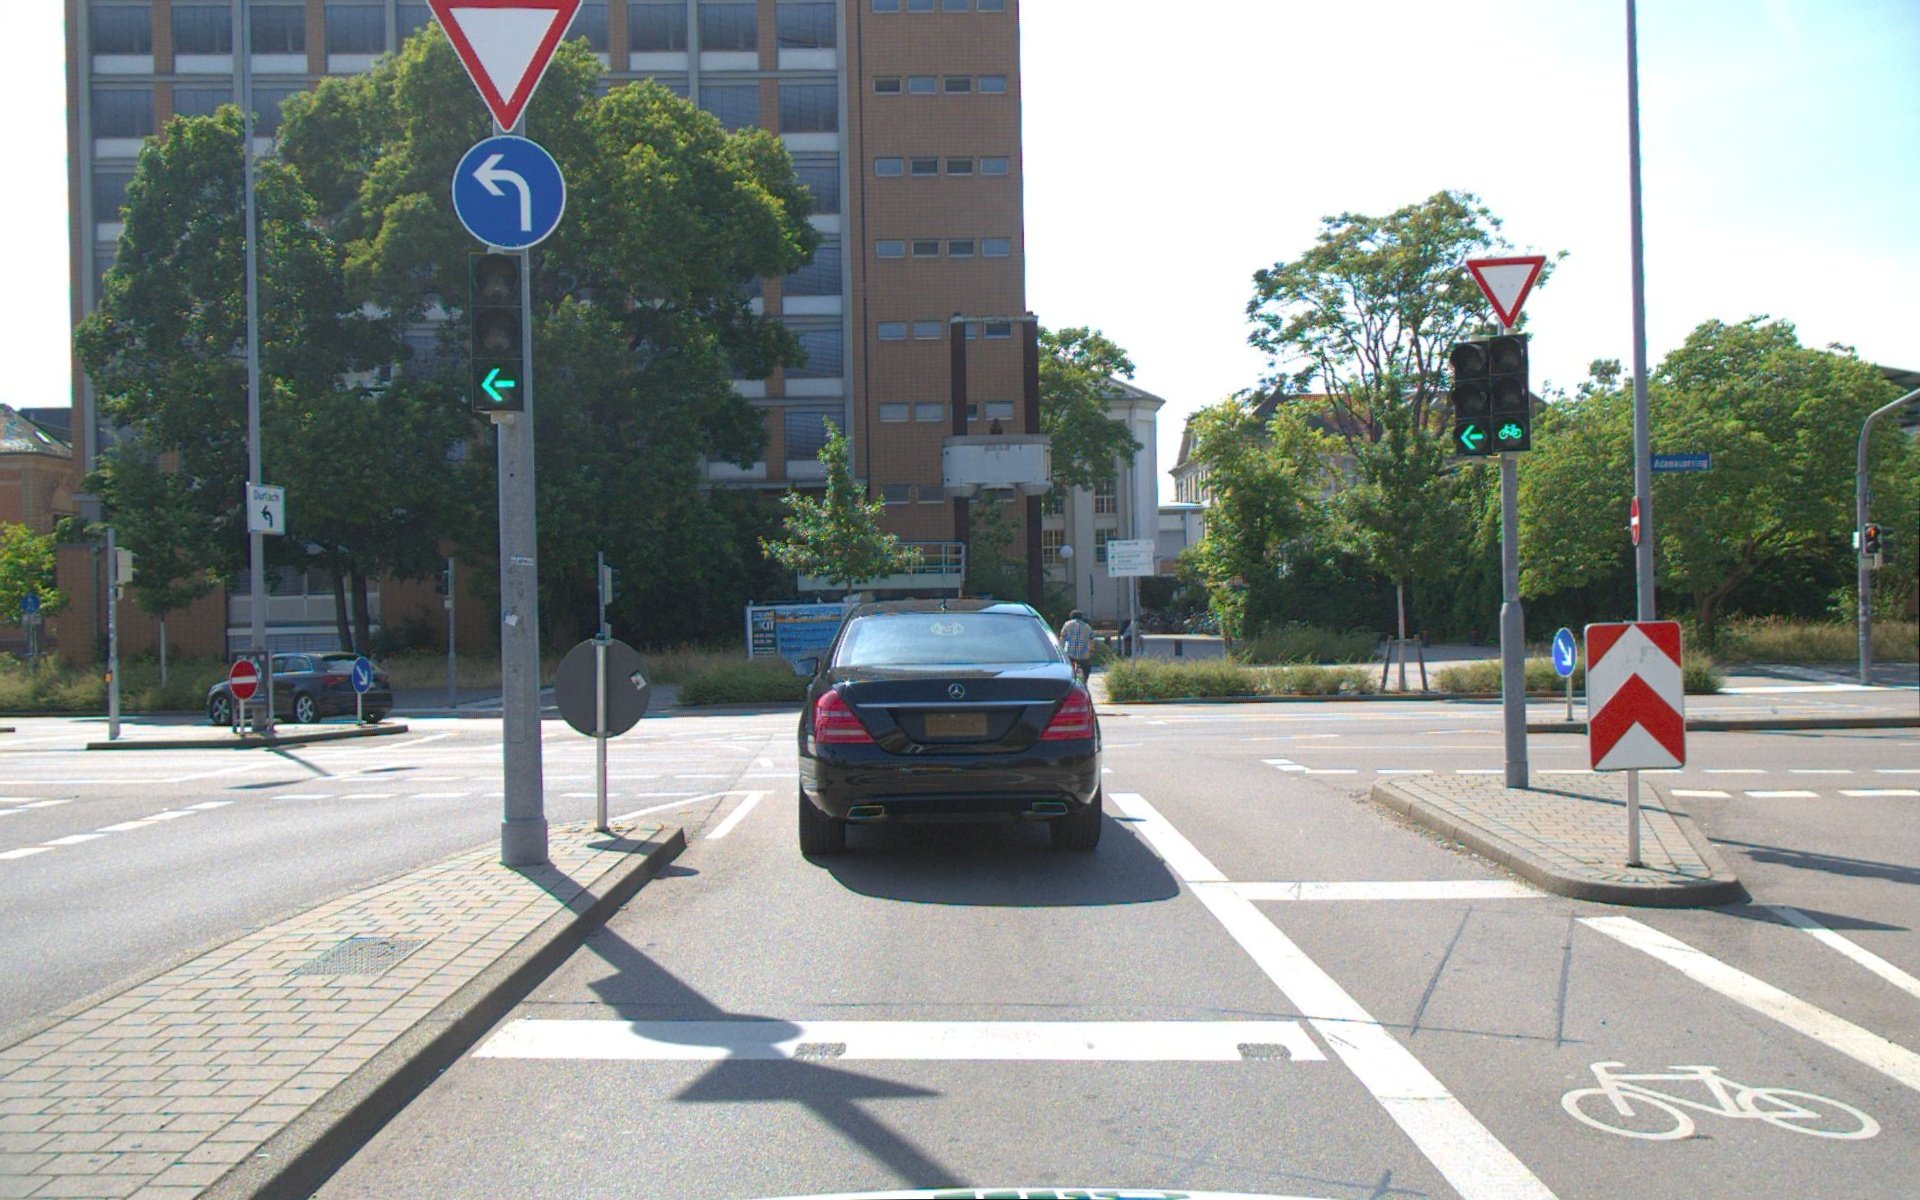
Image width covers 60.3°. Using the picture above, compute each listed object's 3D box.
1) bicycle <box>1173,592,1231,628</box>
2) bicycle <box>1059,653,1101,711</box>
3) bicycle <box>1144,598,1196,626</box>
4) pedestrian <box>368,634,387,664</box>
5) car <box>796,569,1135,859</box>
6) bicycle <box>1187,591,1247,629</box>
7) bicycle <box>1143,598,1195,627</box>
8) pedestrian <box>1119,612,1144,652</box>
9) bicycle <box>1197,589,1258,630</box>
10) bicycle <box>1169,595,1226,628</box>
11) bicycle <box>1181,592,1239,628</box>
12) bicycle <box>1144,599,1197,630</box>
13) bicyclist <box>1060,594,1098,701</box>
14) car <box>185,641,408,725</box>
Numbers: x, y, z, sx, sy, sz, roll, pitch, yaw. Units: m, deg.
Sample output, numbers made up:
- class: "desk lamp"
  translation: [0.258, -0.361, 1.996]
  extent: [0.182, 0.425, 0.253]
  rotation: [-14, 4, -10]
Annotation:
- class: "bicycle"
  translation: [12.339, 0.509, 84.273]
  extent: [2.766, 1.688, 0.841]
  rotation: [-2, 1, -2]
- class: "bicycle"
  translation: [2.147, 1.453, 29.686]
  extent: [0.678, 0.963, 1.959]
  rotation: [1, -1, 2]
- class: "bicycle"
  translation: [11.970, 0.664, 94.280]
  extent: [2.766, 1.506, 0.841]
  rotation: [-2, 0, -2]
- class: "pedestrian"
  translation: [-18.021, 1.503, 51.164]
  extent: [0.419, 0.907, 0.393]
  rotation: [-2, -1, 8]
- class: "car"
  translation: [-0.069, 0.647, 11.287]
  extent: [1.821, 1.557, 4.711]
  rotation: [0, -1, -3]
- class: "bicycle"
  translation: [12.694, 0.508, 81.821]
  extent: [2.766, 1.775, 0.841]
  rotation: [-2, 0, -2]
- class: "bicycle"
  translation: [11.699, 0.691, 92.560]
  extent: [2.766, 1.526, 0.841]
  rotation: [-2, 0, -2]
- class: "pedestrian"
  translation: [5.371, 1.008, 51.761]
  extent: [0.776, 1.235, 0.758]
  rotation: [1, -1, 6]
- class: "bicycle"
  translation: [12.858, 0.473, 79.564]
  extent: [2.766, 1.868, 0.841]
  rotation: [-2, 0, -2]
- class: "bicycle"
  translation: [12.225, 0.590, 85.338]
  extent: [2.766, 1.615, 0.841]
  rotation: [-2, 0, -2]
- class: "bicycle"
  translation: [12.559, 0.504, 83.169]
  extent: [2.766, 1.678, 0.841]
  rotation: [-2, 0, -2]
- class: "bicycle"
  translation: [11.477, 0.776, 90.286]
  extent: [2.766, 1.586, 0.841]
  rotation: [-2, 0, -2]
- class: "bicyclist"
  translation: [2.151, 0.854, 29.982]
  extent: [0.671, 1.911, 0.860]
  rotation: [0, -1, 2]
- class: "car"
  translation: [-13.069, 1.631, 32.604]
  extent: [3.905, 1.537, 1.800]
  rotation: [-2, -2, 21]
